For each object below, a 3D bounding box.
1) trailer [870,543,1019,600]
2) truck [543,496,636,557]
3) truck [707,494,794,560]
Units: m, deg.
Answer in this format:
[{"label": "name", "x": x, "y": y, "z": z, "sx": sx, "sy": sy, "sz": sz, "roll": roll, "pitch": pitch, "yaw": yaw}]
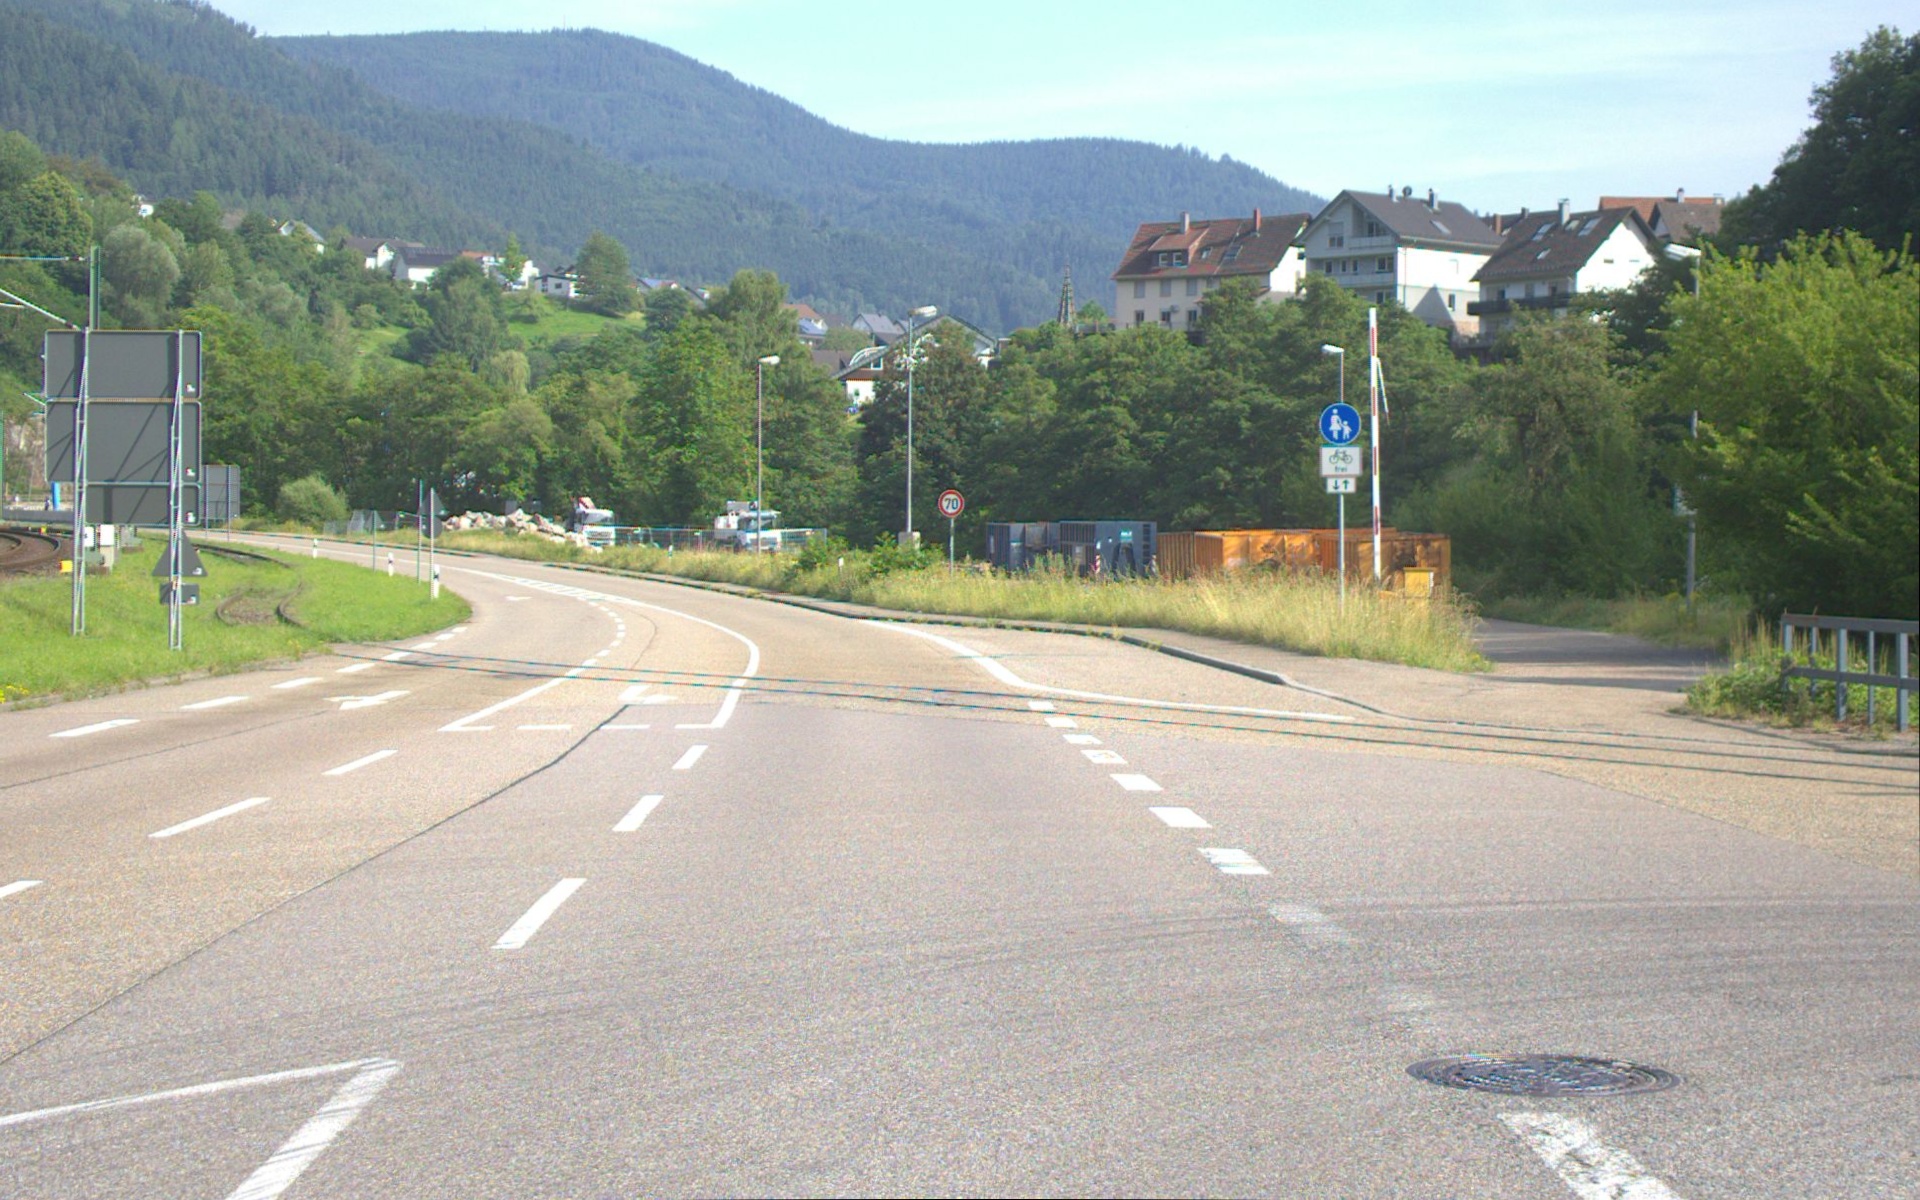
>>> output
[{"label": "trailer", "x": -0.577, "y": -0.932, "z": 108.092, "sx": 2.791, "sy": 1.469, "sz": 9.890, "roll": 3, "pitch": 1, "yaw": -11}, {"label": "truck", "x": -23.841, "y": -4.750, "z": 220.749, "sx": 3.102, "sy": 3.769, "sz": 8.647, "roll": 1, "pitch": 1, "yaw": -26}, {"label": "truck", "x": -12.523, "y": -4.364, "z": 204.441, "sx": 3.102, "sy": 3.769, "sz": 8.648, "roll": 1, "pitch": 1, "yaw": -17}]
